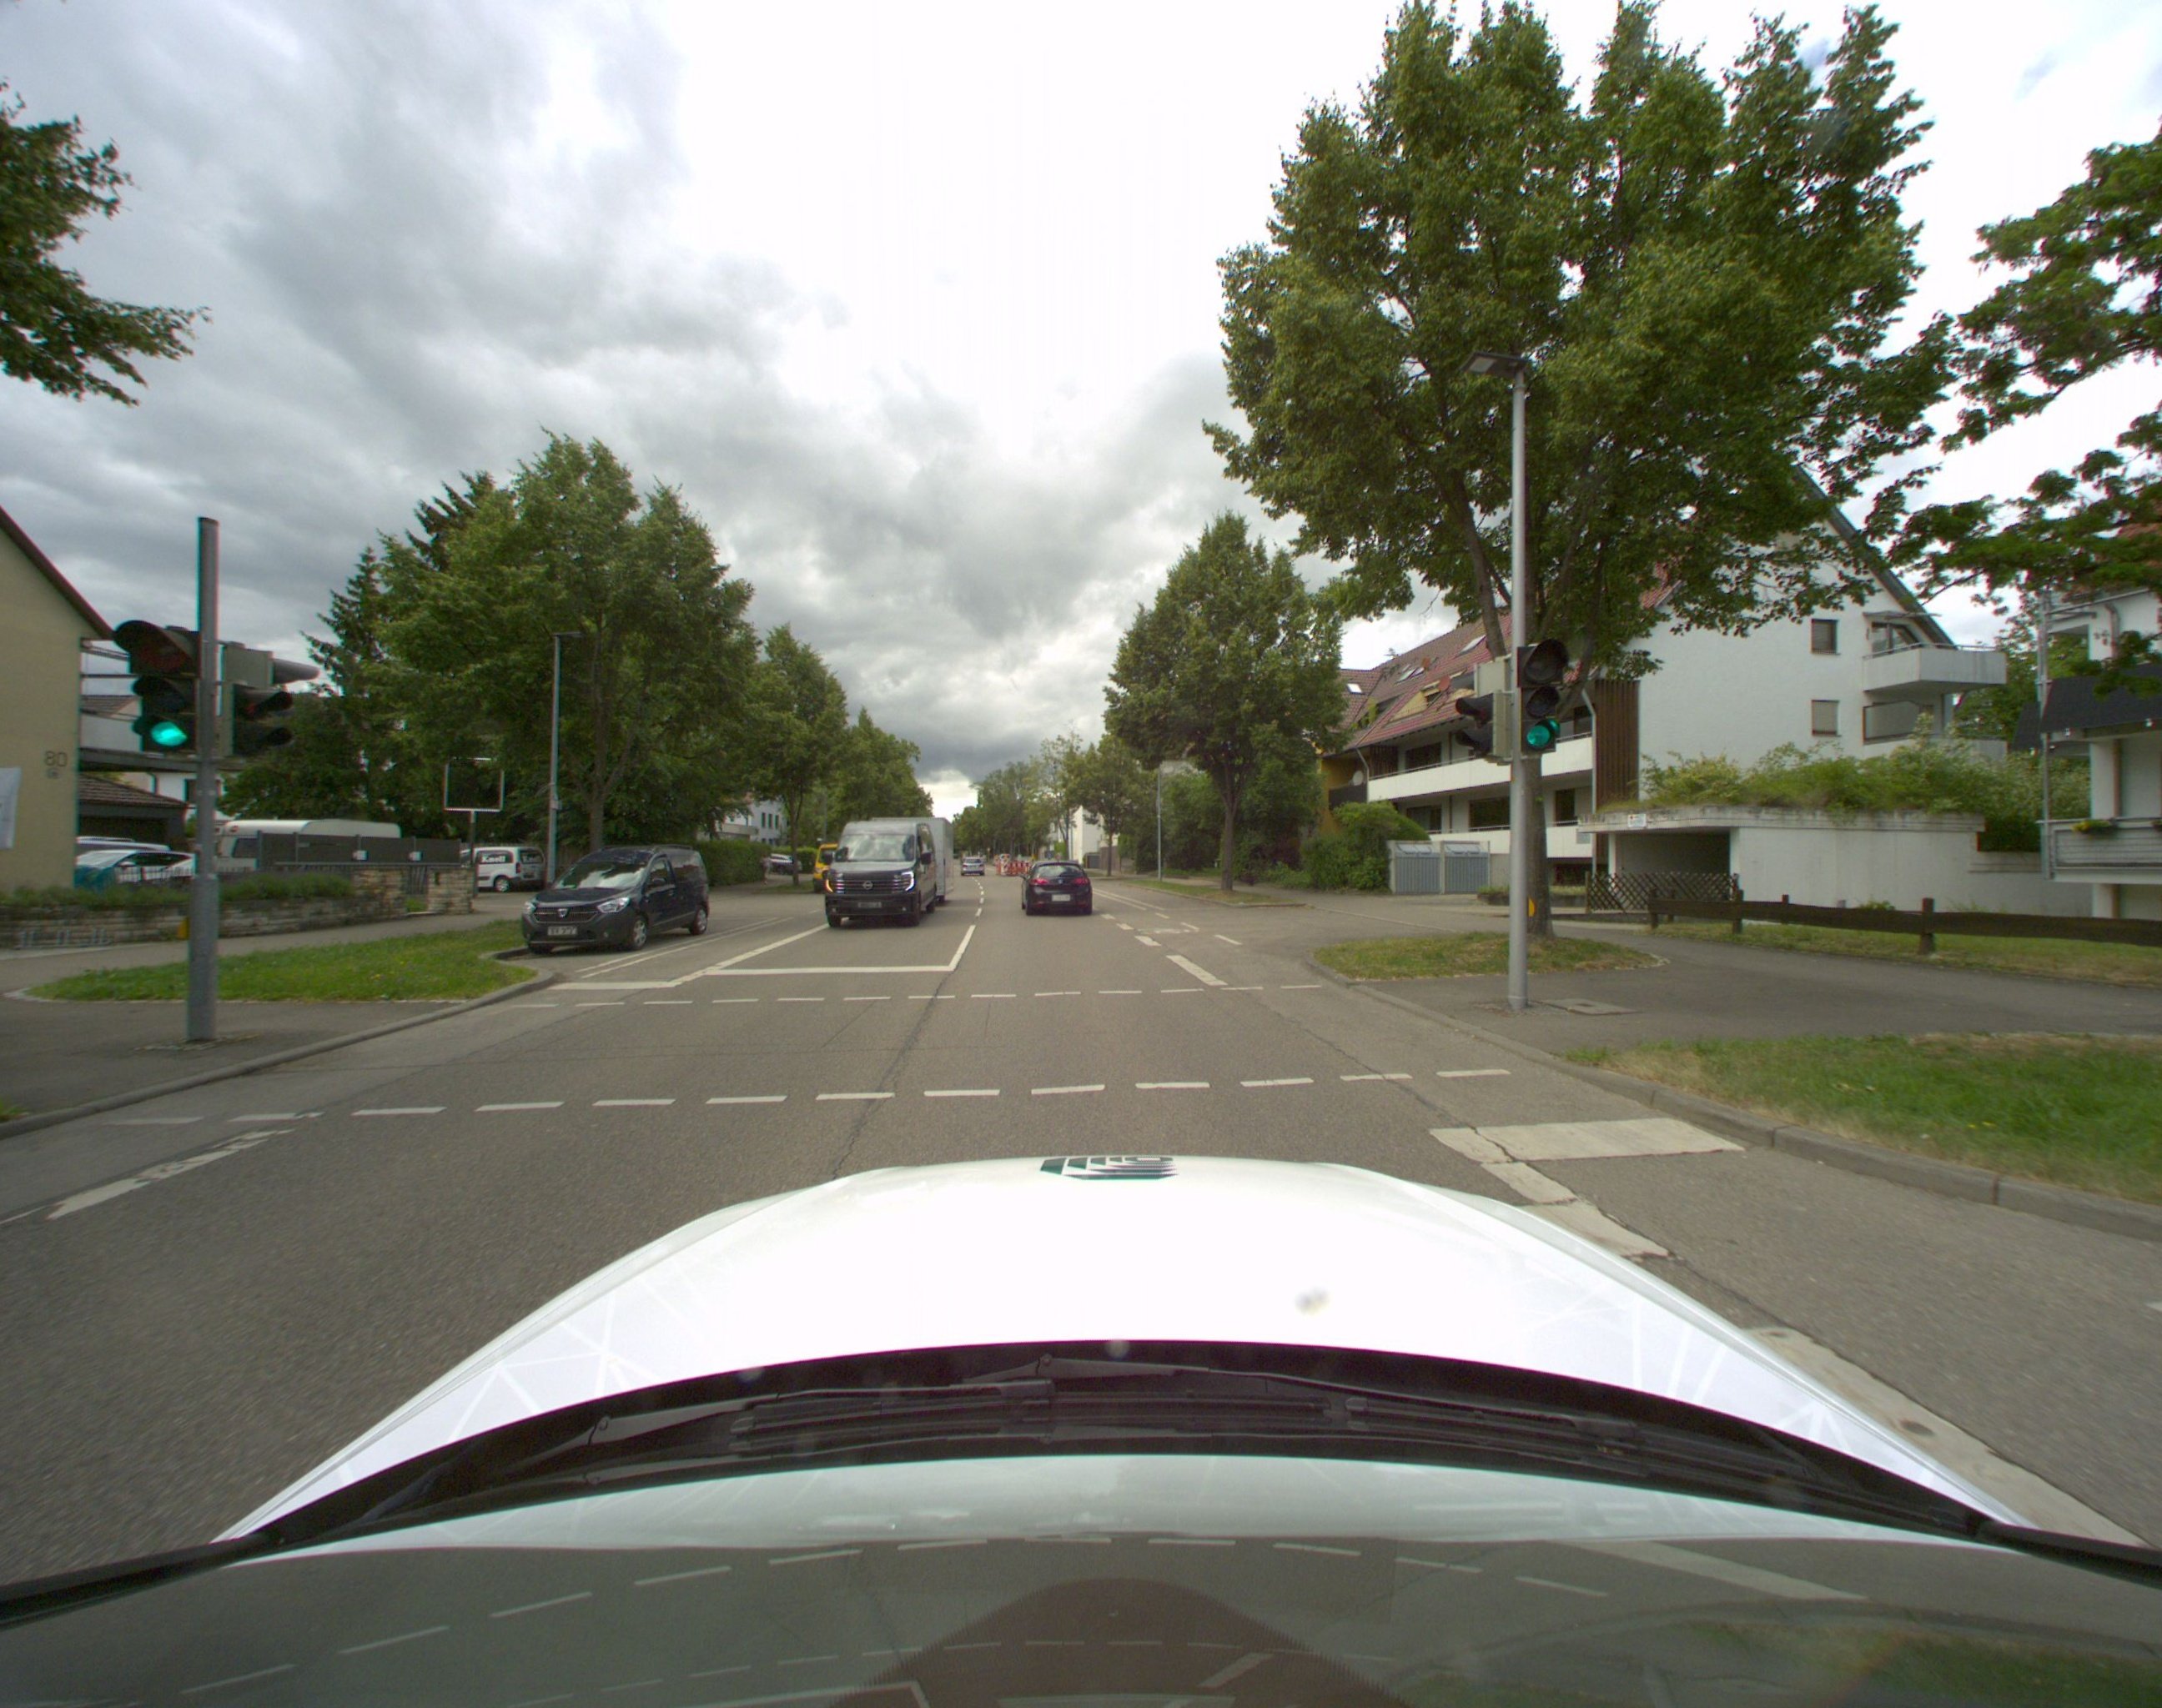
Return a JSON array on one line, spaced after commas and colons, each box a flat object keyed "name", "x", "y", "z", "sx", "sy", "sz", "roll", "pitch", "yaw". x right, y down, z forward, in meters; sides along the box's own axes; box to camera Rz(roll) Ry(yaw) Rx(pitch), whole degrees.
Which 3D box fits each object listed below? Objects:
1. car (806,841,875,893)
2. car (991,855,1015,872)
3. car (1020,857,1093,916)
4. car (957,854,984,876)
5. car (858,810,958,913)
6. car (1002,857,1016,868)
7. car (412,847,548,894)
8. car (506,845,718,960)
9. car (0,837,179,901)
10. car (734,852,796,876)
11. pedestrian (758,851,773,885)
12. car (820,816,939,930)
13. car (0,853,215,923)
[{"name": "car", "x": -10.740, "y": 0.537, "z": 36.710, "sx": 2.090, "sy": 2.175, "sz": 5.033, "roll": 0, "pitch": 0, "yaw": -6}, {"name": "car", "x": -6.677, "y": 0.774, "z": 69.462, "sx": 1.810, "sy": 1.415, "sz": 3.681, "roll": 0, "pitch": 0, "yaw": -9}, {"name": "car", "x": -0.744, "y": 0.817, "z": 22.418, "sx": 1.816, "sy": 1.437, "sz": 3.734, "roll": -1, "pitch": 0, "yaw": -5}, {"name": "car", "x": -8.962, "y": 0.891, "z": 65.906, "sx": 1.907, "sy": 1.685, "sz": 3.724, "roll": -1, "pitch": 0, "yaw": -12}, {"name": "car", "x": -5.330, "y": 0.204, "z": 26.153, "sx": 2.284, "sy": 2.792, "sz": 7.129, "roll": -1, "pitch": 0, "yaw": -6}, {"name": "car", "x": -9.849, "y": 1.110, "z": 111.008, "sx": 1.806, "sy": 1.415, "sz": 3.688, "roll": 0, "pitch": 0, "yaw": -4}, {"name": "car", "x": -23.348, "y": 0.625, "z": 31.733, "sx": 3.972, "sy": 1.769, "sz": 1.746, "roll": 0, "pitch": -1, "yaw": 1}, {"name": "car", "x": -8.405, "y": 0.770, "z": 15.106, "sx": 1.665, "sy": 1.772, "sz": 4.459, "roll": -1, "pitch": 0, "yaw": -6}, {"name": "car", "x": -29.910, "y": 0.438, "z": 24.286, "sx": 1.585, "sy": 1.769, "sz": 3.786, "roll": 0, "pitch": -1, "yaw": 7}, {"name": "car", "x": -21.971, "y": 0.689, "z": 56.724, "sx": 3.678, "sy": 1.594, "sz": 1.675, "roll": 0, "pitch": 0, "yaw": -7}, {"name": "pedestrian", "x": -16.506, "y": 0.736, "z": 42.584, "sx": 0.595, "sy": 1.741, "sz": 0.573, "roll": 0, "pitch": 0, "yaw": -7}, {"name": "car", "x": -4.743, "y": 0.407, "z": 19.977, "sx": 2.026, "sy": 2.385, "sz": 5.251, "roll": -1, "pitch": 0, "yaw": -6}, {"name": "car", "x": -26.982, "y": 0.891, "z": 22.611, "sx": 1.585, "sy": 1.769, "sz": 3.786, "roll": 0, "pitch": -1, "yaw": 7}]
